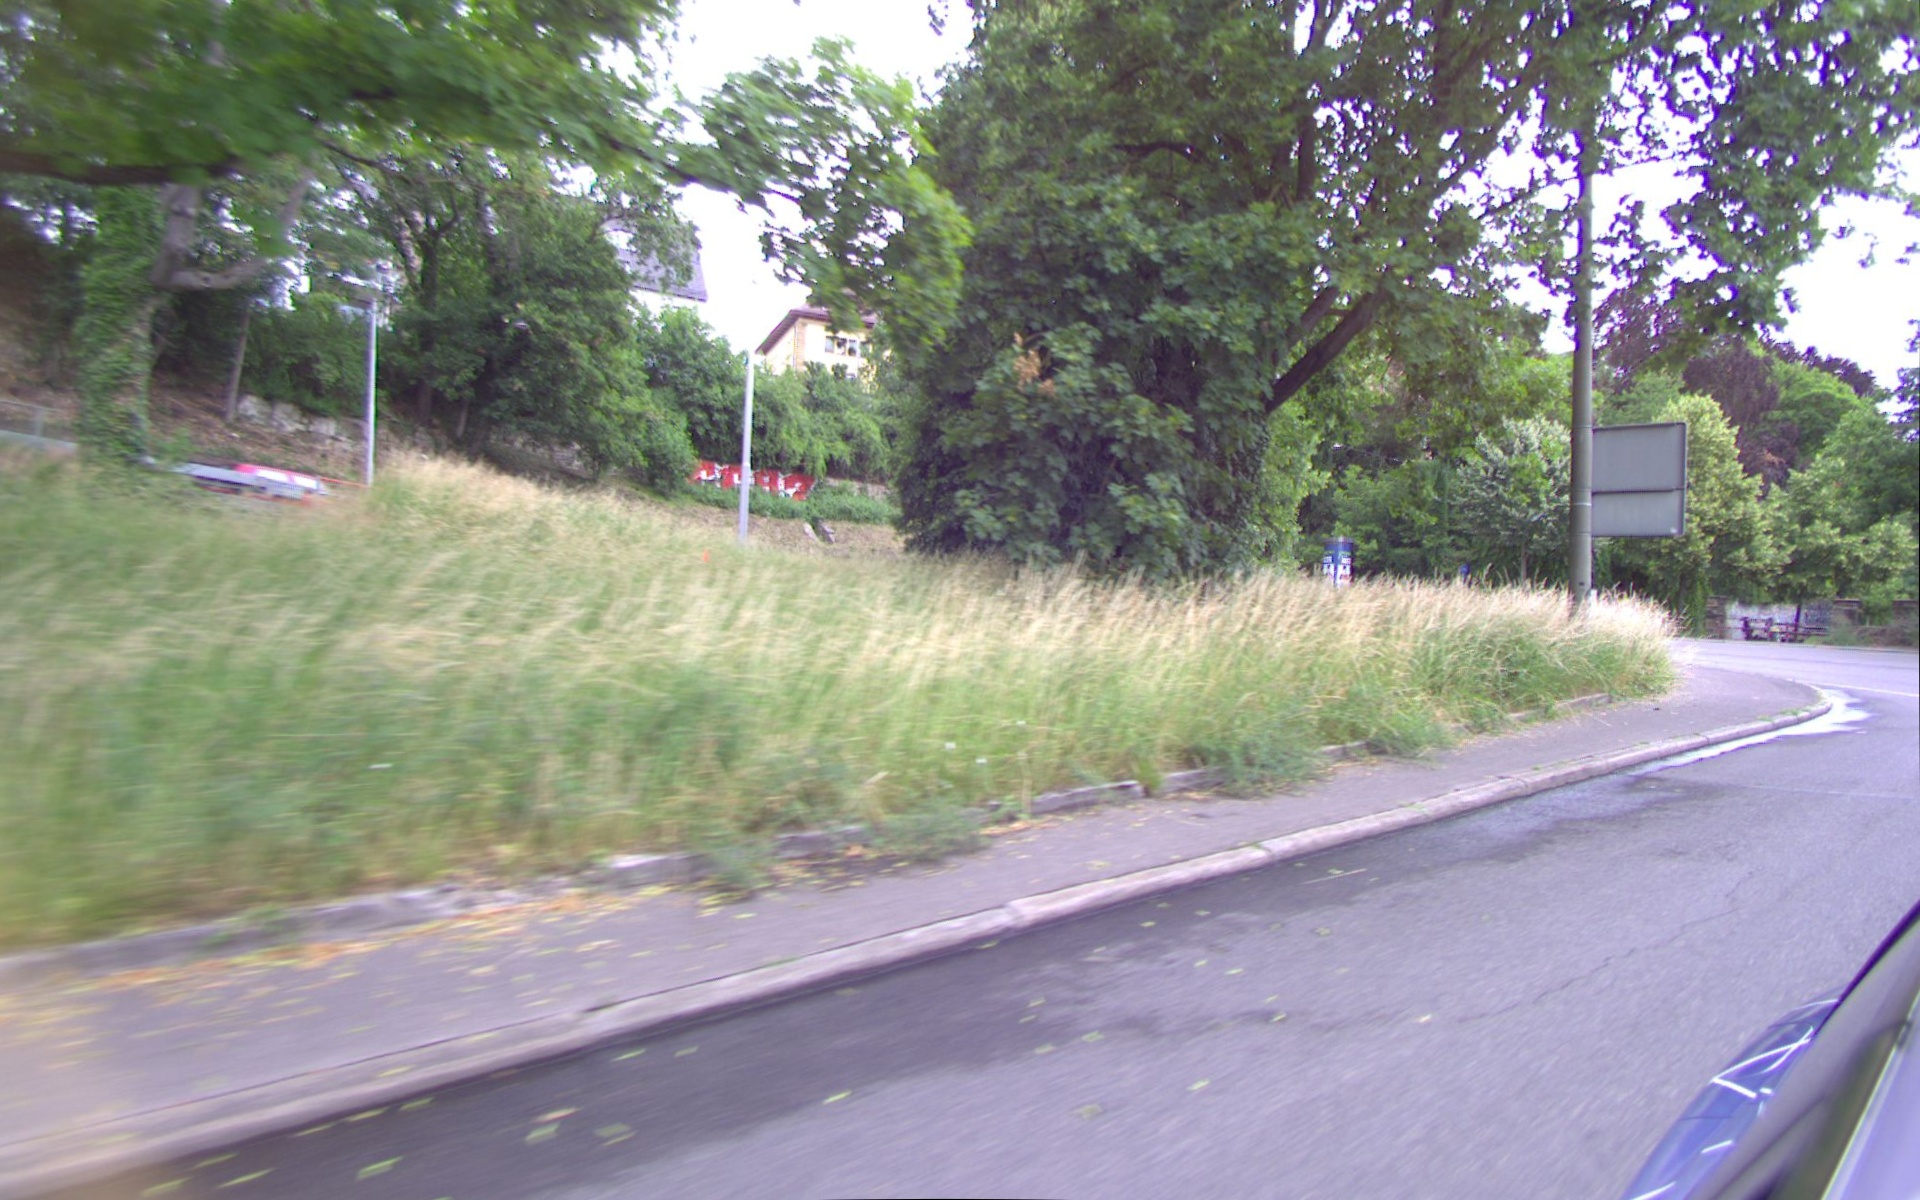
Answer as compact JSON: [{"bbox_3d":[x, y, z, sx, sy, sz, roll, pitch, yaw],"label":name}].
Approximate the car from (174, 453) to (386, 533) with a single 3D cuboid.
[{"bbox_3d":[-16.499,-2.531,24.741,1.785,1.529,3.958,0,0,30],"label":"car"}]
